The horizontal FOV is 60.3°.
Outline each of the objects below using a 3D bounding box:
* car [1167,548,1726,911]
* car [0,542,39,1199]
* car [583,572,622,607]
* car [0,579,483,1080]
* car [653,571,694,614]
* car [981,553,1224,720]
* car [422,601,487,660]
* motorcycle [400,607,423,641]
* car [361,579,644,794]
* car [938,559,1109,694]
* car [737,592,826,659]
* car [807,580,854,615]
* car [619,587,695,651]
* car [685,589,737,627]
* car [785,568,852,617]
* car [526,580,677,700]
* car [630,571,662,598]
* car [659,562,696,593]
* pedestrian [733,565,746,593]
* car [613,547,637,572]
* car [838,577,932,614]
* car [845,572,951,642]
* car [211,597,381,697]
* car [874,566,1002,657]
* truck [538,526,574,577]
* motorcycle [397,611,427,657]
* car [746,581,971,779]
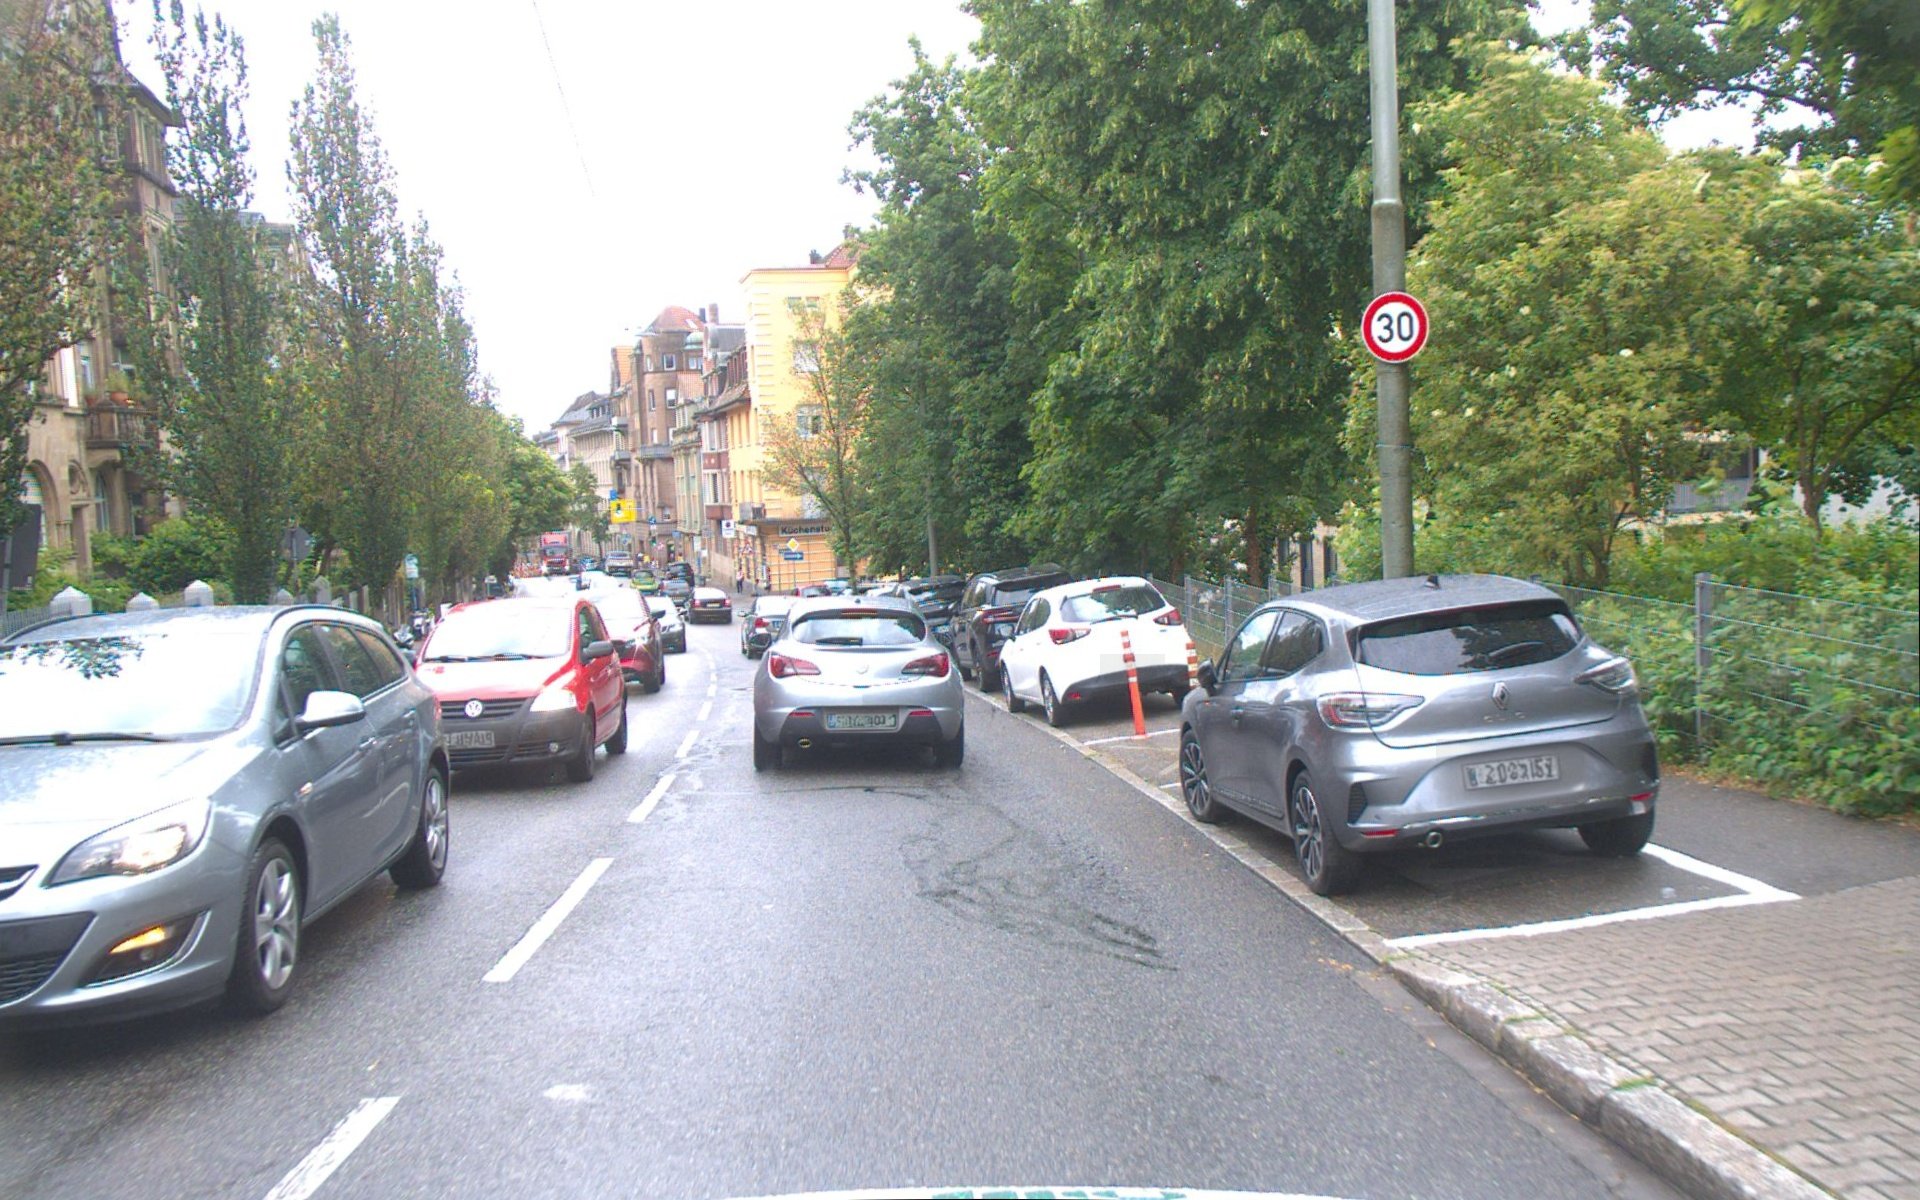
[{"bbox_3d":[2.407,0.555,9.225,1.618,1.428,3.809,-6,1,-5],"label":"car"},{"bbox_3d":[-3.023,0.724,1.625,1.838,1.602,4.583,-2,1,-4],"label":"car"},{"bbox_3d":[-18.771,-0.580,87.071,1.790,1.679,3.990,-4,1,-11],"label":"car"},{"bbox_3d":[-3.438,0.721,7.199,1.739,1.523,4.259,-2,0,-5],"label":"car"},{"bbox_3d":[-13.983,-0.386,80.622,1.613,1.717,3.704,-3,5,-14],"label":"car"},{"bbox_3d":[1.538,0.398,19.402,1.783,1.520,3.992,-8,1,-9],"label":"car"},{"bbox_3d":[-16.820,0.981,55.158,1.759,1.679,4.179,-6,2,-15],"label":"car"},{"bbox_3d":[-21.173,0.921,63.888,0.549,1.259,1.640,-4,0,-11],"label":"motorcycle"},{"bbox_3d":[-3.902,0.644,14.748,1.622,1.595,3.997,-2,1,-4],"label":"car"},{"bbox_3d":[0.851,0.337,25.215,1.787,1.712,4.797,-5,1,-6],"label":"car"},{"bbox_3d":[-4.179,0.556,38.378,1.744,1.455,3.775,-1,0,-11],"label":"car"},{"bbox_3d":[-6.006,-0.126,77.198,1.739,1.454,3.788,-1,2,2],"label":"car"},{"bbox_3d":[-7.963,0.465,43.743,1.705,1.499,4.274,-3,1,-8],"label":"car"},{"bbox_3d":[-10.033,0.288,66.433,1.738,1.439,3.703,-1,1,-14],"label":"car"},{"bbox_3d":[-5.153,-0.242,59.880,1.784,1.492,3.988,-7,1,-12],"label":"car"},{"bbox_3d":[-5.680,0.569,26.665,1.811,1.611,4.273,-5,1,-6],"label":"car"},{"bbox_3d":[-19.200,-0.953,101.132,1.613,1.563,3.702,-3,1,-15],"label":"car"},{"bbox_3d":[-18.680,-1.453,109.219,1.961,1.717,3.987,-8,2,-13],"label":"car"},{"bbox_3d":[-12.437,-1.183,93.299,0.602,1.522,0.551,-2,3,-11],"label":"pedestrian"},{"bbox_3d":[-27.455,-3.312,135.588,1.752,1.887,3.985,-2,0,-14],"label":"car"},{"bbox_3d":[-3.186,-0.182,70.241,3.711,1.455,1.775,2,-1,-15],"label":"car"},{"bbox_3d":[-1.595,0.187,41.175,1.941,1.477,4.103,-5,0,-11],"label":"car"},{"bbox_3d":[-11.904,0.799,29.908,1.780,1.640,3.995,-1,0,-6],"label":"car"},{"bbox_3d":[-0.545,0.232,35.073,1.940,1.637,4.475,-5,0,-9],"label":"car"},{"bbox_3d":[-36.354,-4.456,148.632,2.743,4.203,10.810,-3,3,-15],"label":"truck"},{"bbox_3d":[-14.232,0.860,42.947,0.643,1.141,2.141,-1,0,-21],"label":"motorcycle"},{"bbox_3d":[-1.020,0.622,15.381,1.780,1.454,3.995,-2,2,-6],"label":"car"}]
